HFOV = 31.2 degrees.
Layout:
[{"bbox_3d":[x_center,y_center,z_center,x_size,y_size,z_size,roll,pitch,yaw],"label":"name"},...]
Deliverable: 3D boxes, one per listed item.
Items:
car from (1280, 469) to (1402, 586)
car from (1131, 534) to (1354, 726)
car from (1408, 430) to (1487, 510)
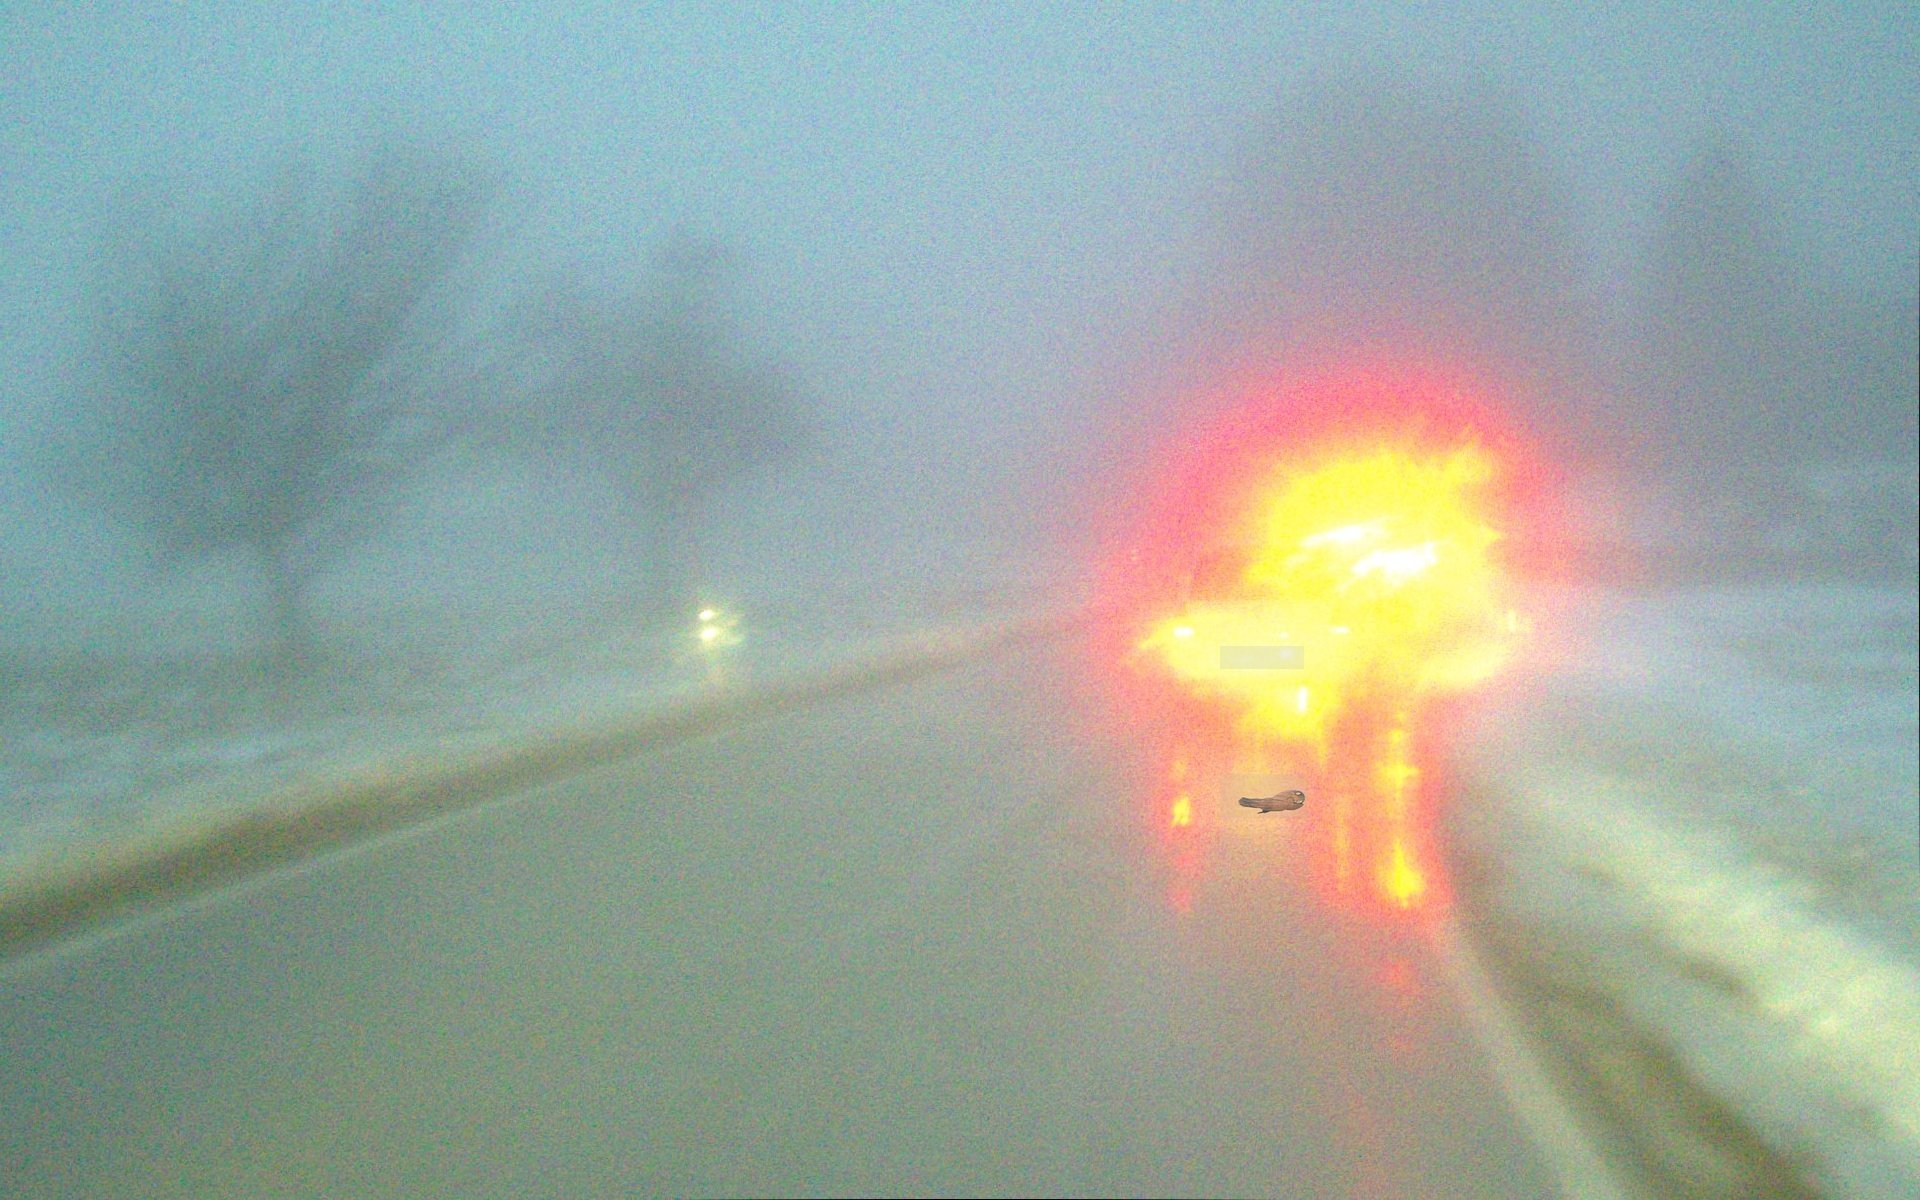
[{"bbox_3d":[5.180,-0.985,46.532,1.479,1.503,3.052,-1,1,9],"label":"car"},{"bbox_3d":[2.409,0.228,29.163,1.707,1.458,3.999,2,0,5],"label":"car"},{"bbox_3d":[9.915,-2.626,69.844,1.523,1.503,3.052,-1,1,9],"label":"car"}]
